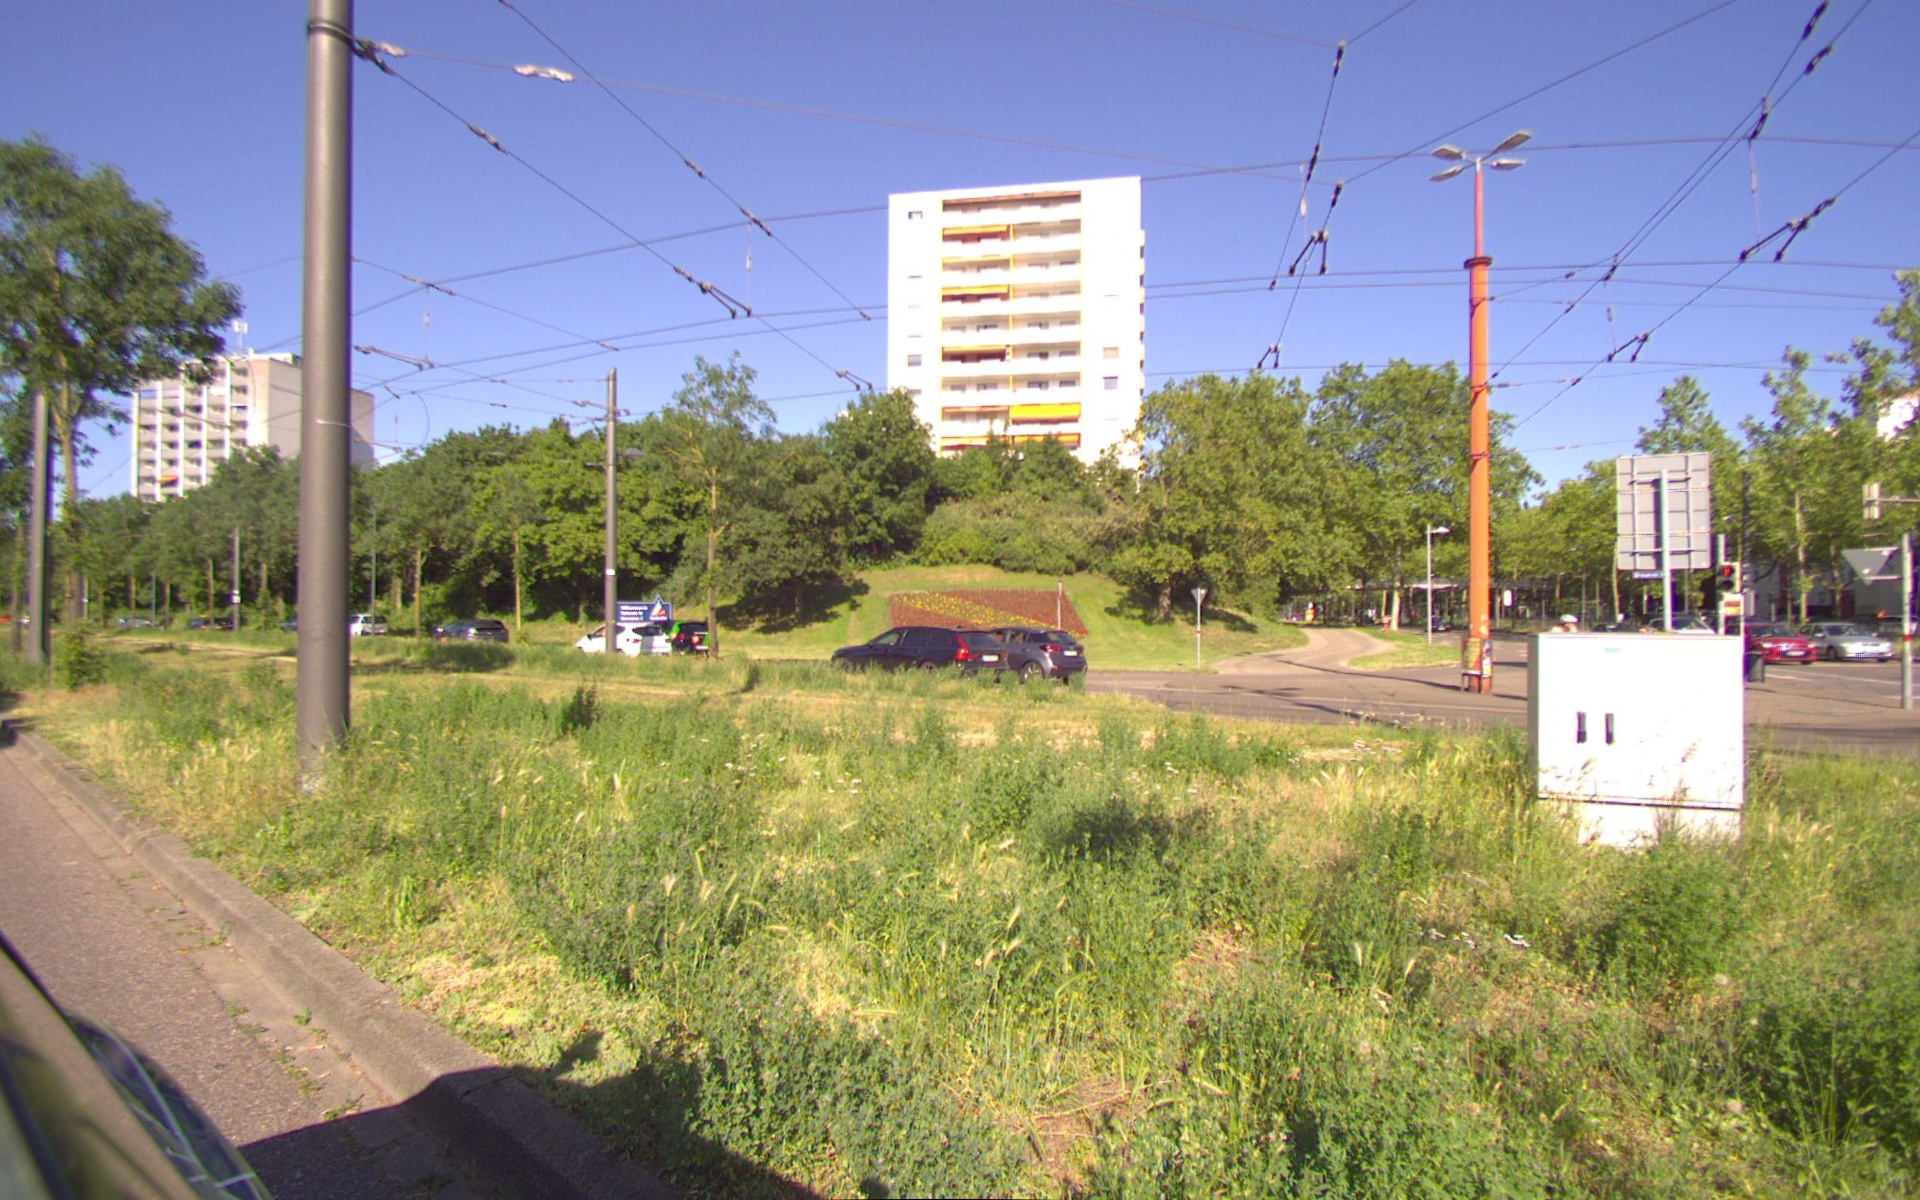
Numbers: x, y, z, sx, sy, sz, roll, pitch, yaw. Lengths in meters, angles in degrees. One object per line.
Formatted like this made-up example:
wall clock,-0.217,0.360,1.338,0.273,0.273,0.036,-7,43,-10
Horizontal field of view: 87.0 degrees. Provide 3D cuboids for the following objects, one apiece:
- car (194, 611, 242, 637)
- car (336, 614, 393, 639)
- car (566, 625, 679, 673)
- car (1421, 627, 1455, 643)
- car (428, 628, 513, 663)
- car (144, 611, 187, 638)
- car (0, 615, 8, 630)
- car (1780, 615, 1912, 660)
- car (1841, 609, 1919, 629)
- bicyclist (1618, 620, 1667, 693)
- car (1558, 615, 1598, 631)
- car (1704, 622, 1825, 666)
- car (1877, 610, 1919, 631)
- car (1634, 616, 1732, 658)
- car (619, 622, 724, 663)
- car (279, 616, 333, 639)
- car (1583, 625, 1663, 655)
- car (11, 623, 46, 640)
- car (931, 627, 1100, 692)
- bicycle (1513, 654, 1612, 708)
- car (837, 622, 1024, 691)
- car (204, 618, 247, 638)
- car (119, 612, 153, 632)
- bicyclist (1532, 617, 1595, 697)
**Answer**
car,-50.829,1.643,69.309,3.998,1.779,1.858,-1,-2,41
car,-35.033,1.533,59.470,4.000,1.409,1.822,-1,-2,43
car,-10.979,1.547,32.806,4.000,1.429,1.842,-1,-2,43
car,43.993,3.246,93.166,1.747,1.360,4.347,-1,-1,11
car,-20.501,1.857,42.346,4.229,1.371,1.801,-1,-2,43
car,-61.852,1.930,78.766,3.998,2.029,1.973,-1,-2,41
car,-118.421,2.739,124.125,3.994,1.779,1.860,-1,-2,38
car,32.206,1.330,36.947,1.840,1.557,4.242,-1,-1,14
car,65.875,1.375,72.396,1.770,1.420,4.010,1,-1,-36
bicyclist,13.337,1.096,19.784,0.435,1.391,0.631,0,-2,-20
car,79.770,2.990,130.621,3.969,2.029,1.987,-1,-1,20
car,28.547,1.524,36.075,1.668,1.446,4.050,0,-1,12
car,64.886,1.396,68.414,1.770,1.420,4.010,1,-1,-36
car,30.491,1.533,42.835,1.810,1.648,4.236,0,-1,12
car,-10.651,1.535,37.216,3.998,1.429,1.843,-1,-2,41
car,-42.860,1.792,66.318,3.998,1.497,1.972,-1,-2,41
car,32.351,1.930,49.521,1.747,1.360,4.346,-1,-1,12
car,-98.153,3.300,106.619,3.990,1.674,1.888,-1,-2,35
car,1.350,1.451,25.893,1.767,1.519,4.243,1,-2,-45
bicycle,12.085,1.603,20.364,0.673,0.968,1.650,0,-1,-20
car,-0.751,1.231,23.238,4.311,1.427,1.775,-1,-2,43
car,-55.955,2.142,77.084,3.998,1.475,1.779,-1,-2,41
car,-76.343,2.059,93.741,3.998,1.779,1.858,-1,-2,41
bicyclist,12.115,1.131,20.333,0.719,1.557,0.770,0,-2,-20
